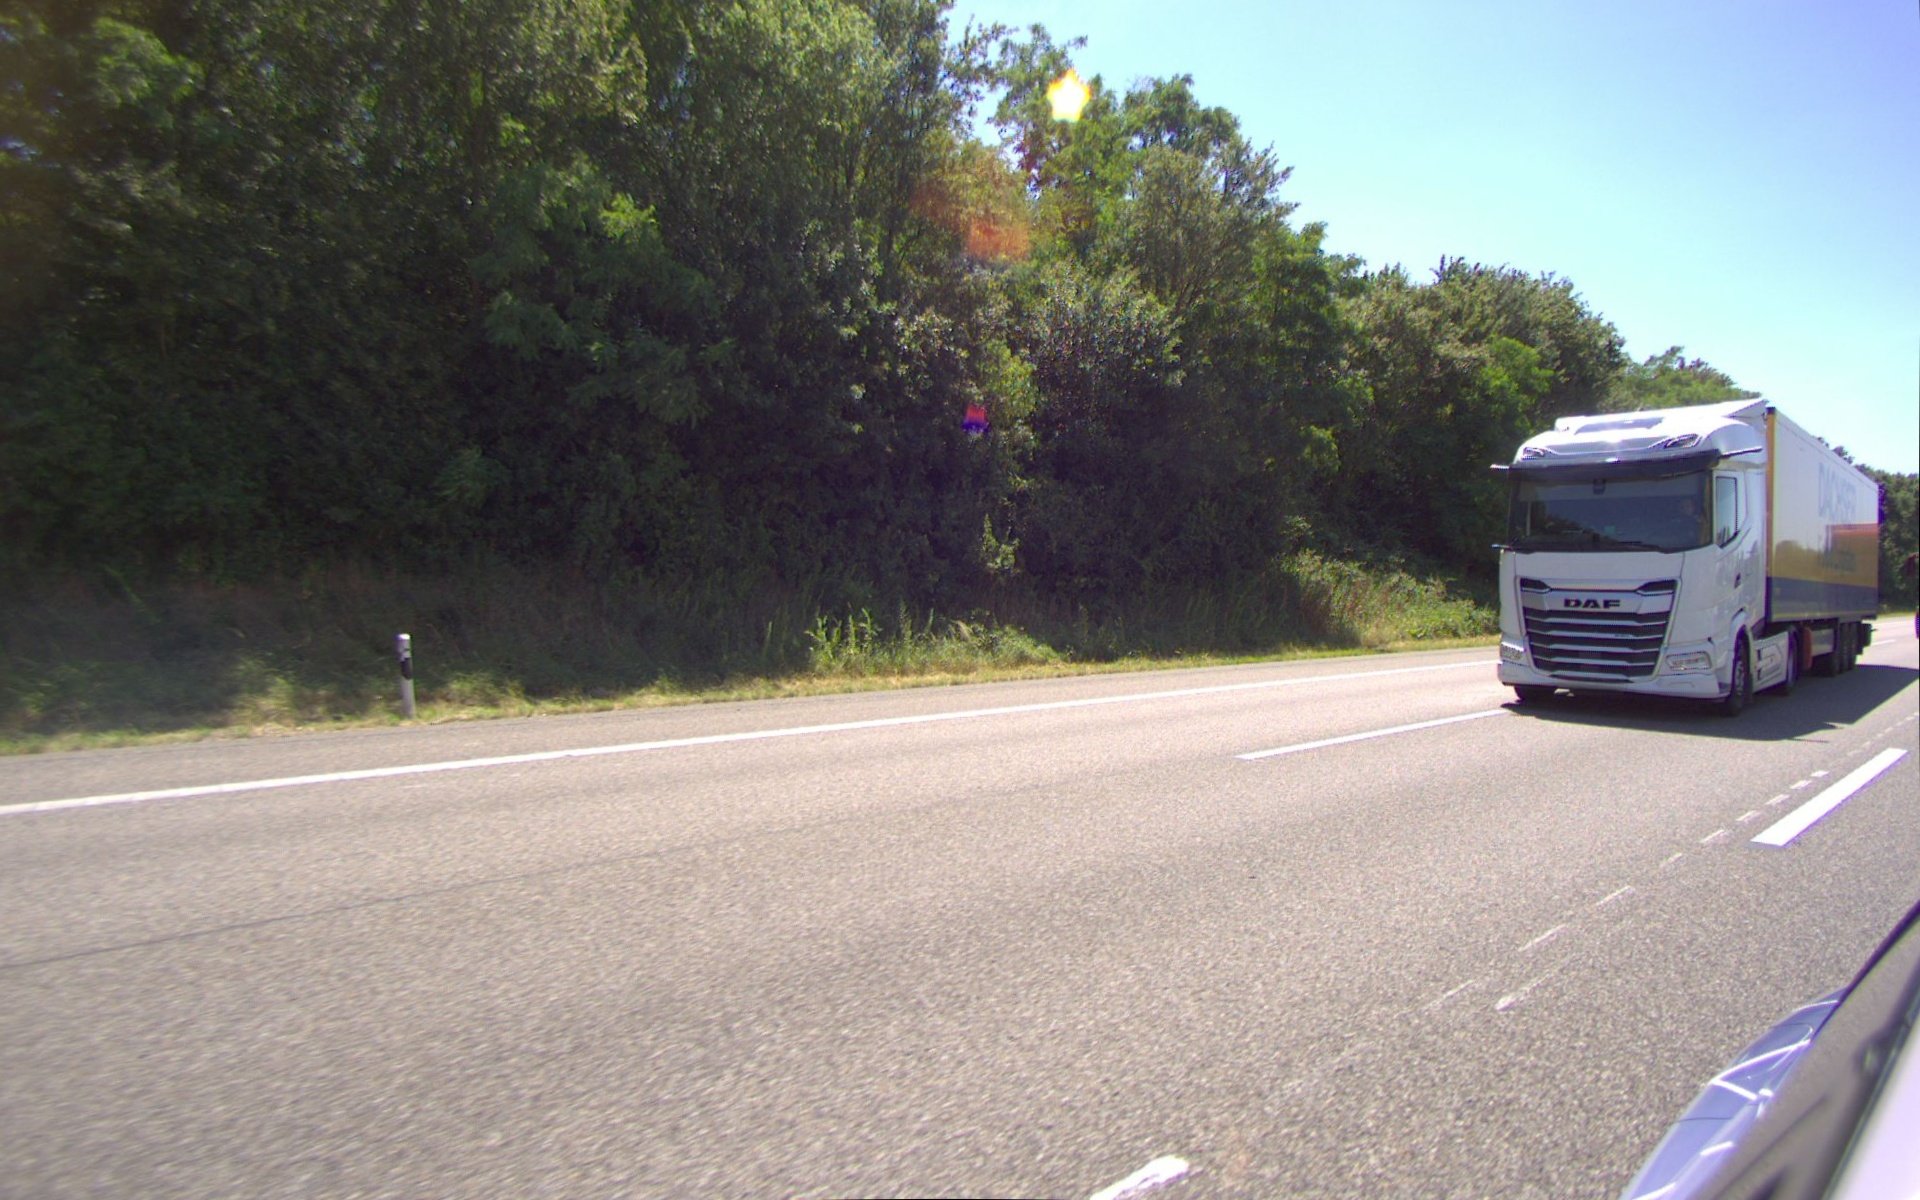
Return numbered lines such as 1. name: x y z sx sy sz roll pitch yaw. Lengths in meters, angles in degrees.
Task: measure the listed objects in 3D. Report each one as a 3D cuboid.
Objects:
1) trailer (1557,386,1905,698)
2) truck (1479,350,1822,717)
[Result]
1. trailer: 15.027 -0.810 18.921 13.597 4.121 2.681 0 0 -42
2. truck: 9.955 -0.768 14.350 5.944 4.121 2.681 0 0 -42
